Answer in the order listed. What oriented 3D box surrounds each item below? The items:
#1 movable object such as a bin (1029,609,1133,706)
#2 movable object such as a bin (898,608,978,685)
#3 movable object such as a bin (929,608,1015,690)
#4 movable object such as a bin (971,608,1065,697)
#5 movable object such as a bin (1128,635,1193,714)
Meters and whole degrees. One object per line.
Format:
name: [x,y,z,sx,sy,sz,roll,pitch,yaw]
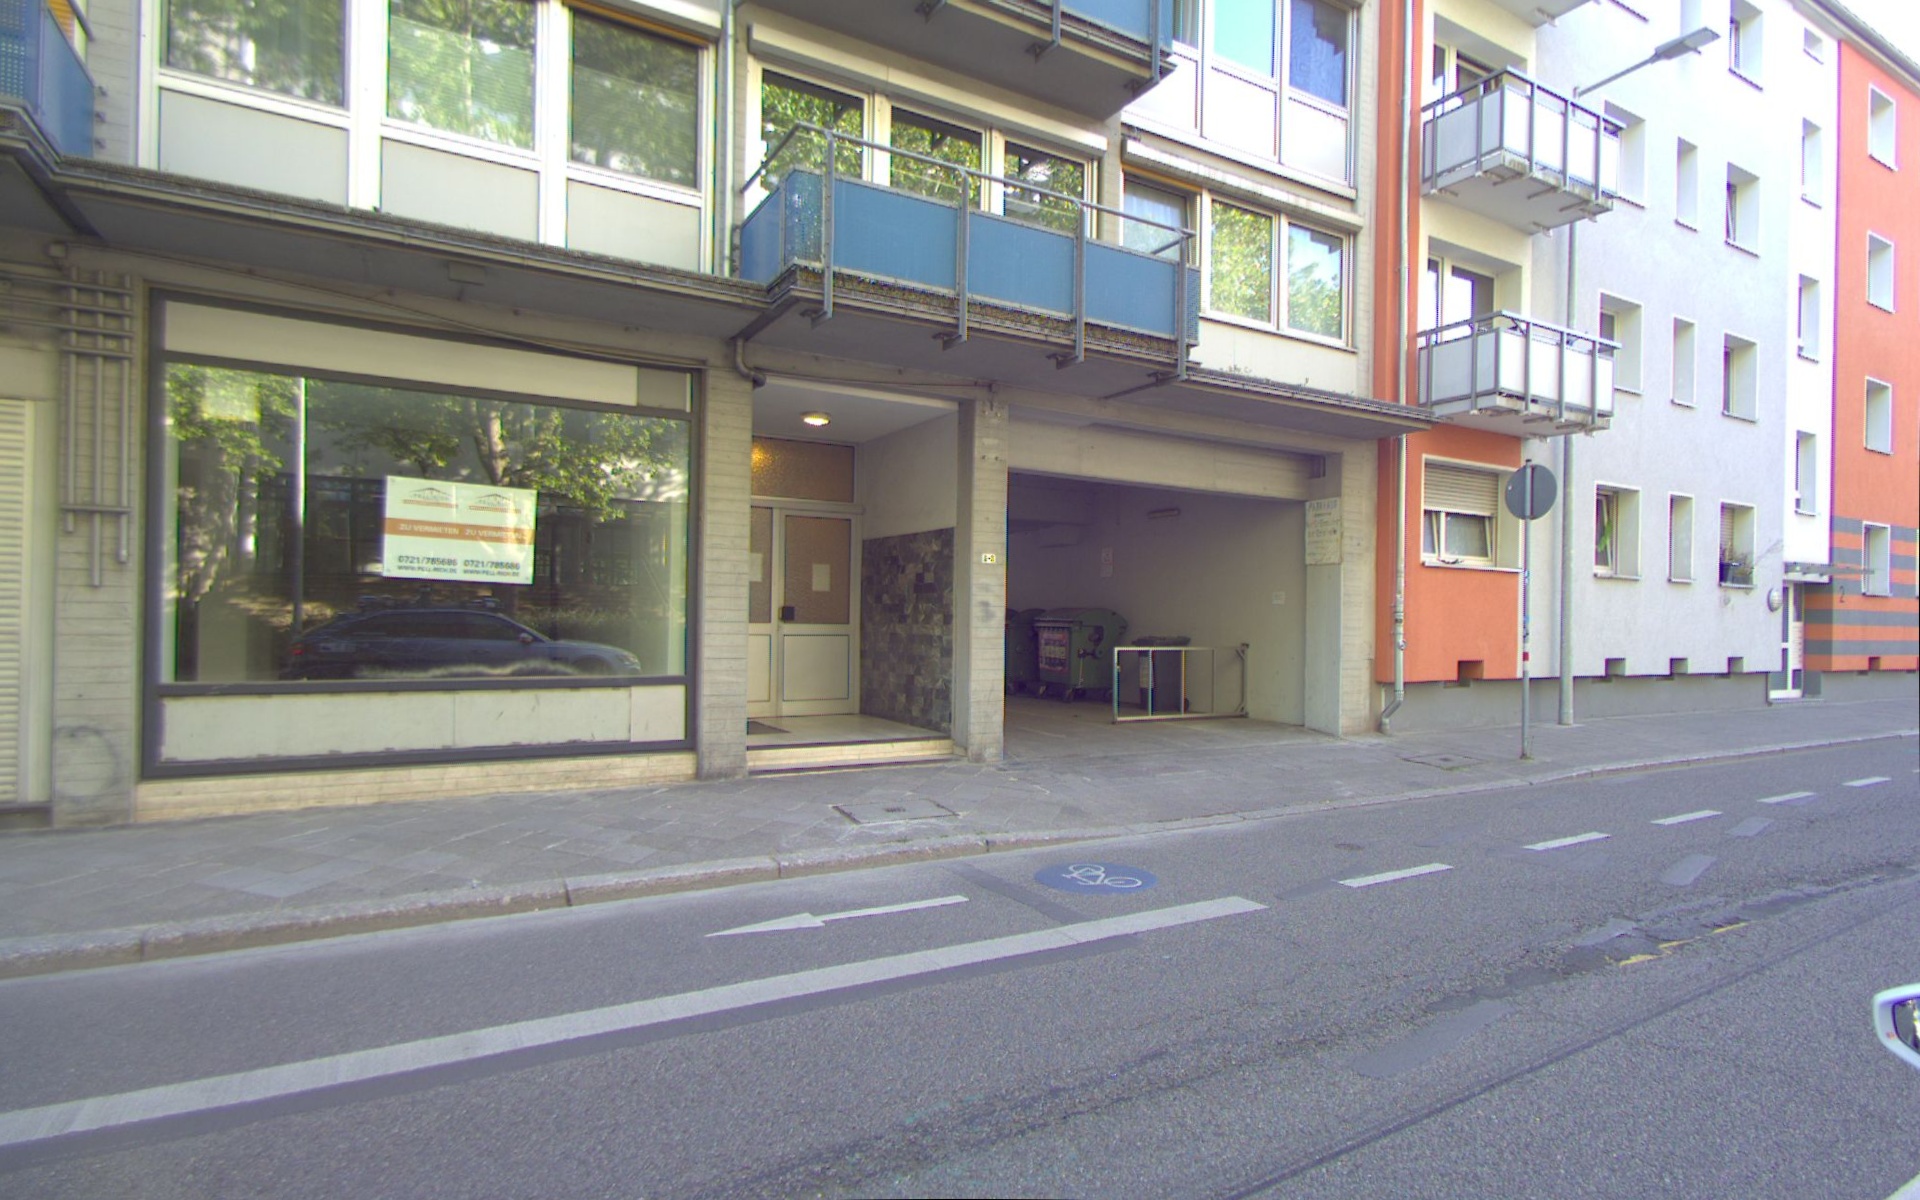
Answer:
movable object such as a bin: [1.895,0.877,15.816,1.116,1.444,1.201,1,0,-30]
movable object such as a bin: [-0.434,0.886,19.622,1.116,1.444,1.201,1,0,-30]
movable object such as a bin: [0.213,0.879,18.473,1.116,1.444,1.201,1,0,-30]
movable object such as a bin: [0.983,0.872,17.175,1.116,1.444,1.201,1,0,-30]
movable object such as a bin: [2.893,1.059,14.505,0.667,1.079,0.639,1,0,-30]
